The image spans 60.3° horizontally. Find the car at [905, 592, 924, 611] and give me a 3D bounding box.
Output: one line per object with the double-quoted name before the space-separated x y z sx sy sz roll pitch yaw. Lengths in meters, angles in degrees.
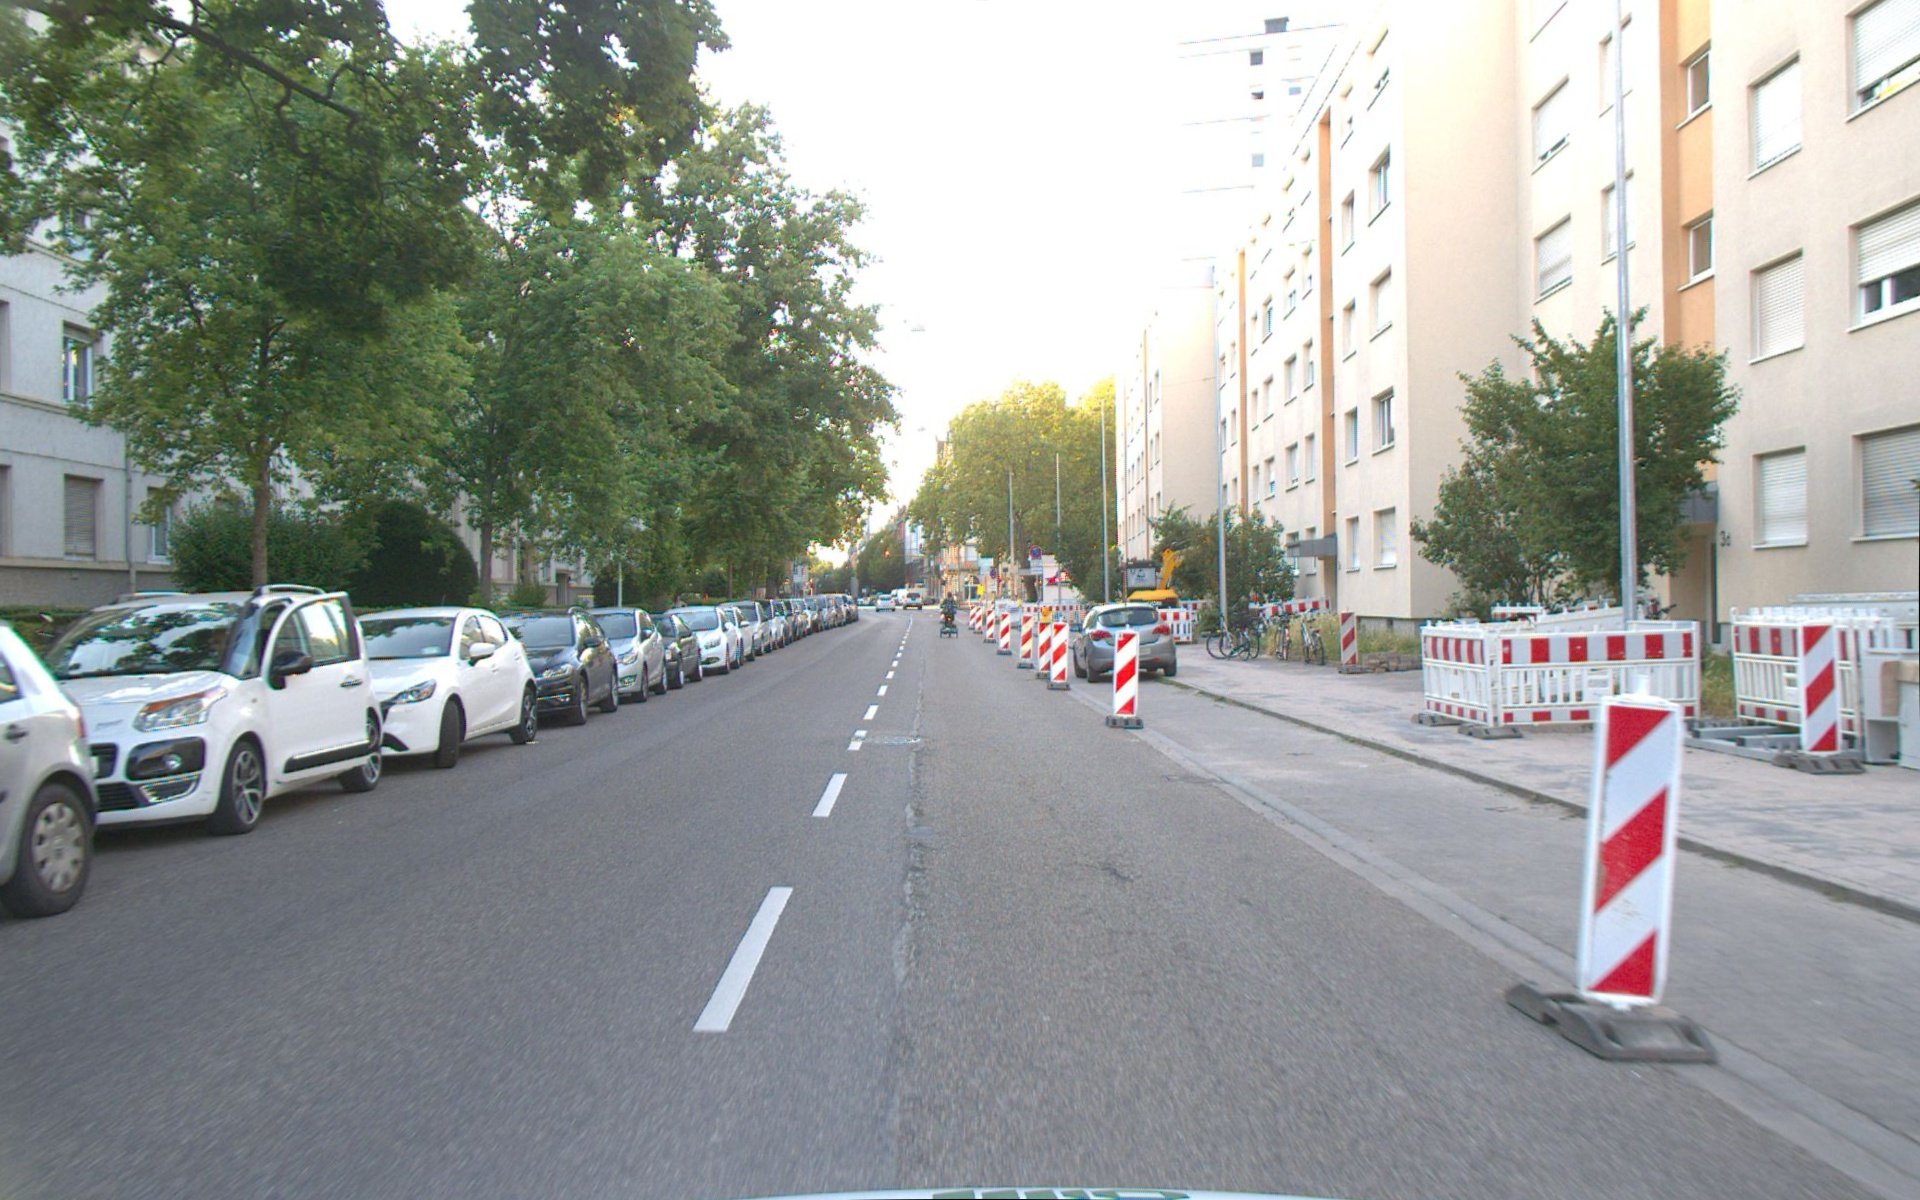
"car" -4.670 0.133 168.844 1.829 1.846 3.998 -1 0 -3

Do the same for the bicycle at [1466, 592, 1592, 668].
"bicycle" 8.934 0.466 26.010 1.716 1.004 0.558 -6 -1 8

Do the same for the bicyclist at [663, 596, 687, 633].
"bicyclist" -11.169 0.550 64.800 0.792 1.428 0.973 0 0 -2

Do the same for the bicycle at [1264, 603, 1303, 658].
"bicycle" 7.293 0.671 37.322 0.544 1.192 1.817 0 0 1

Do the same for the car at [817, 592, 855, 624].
"car" -7.242 0.443 96.904 1.914 1.749 4.769 -3 0 -2

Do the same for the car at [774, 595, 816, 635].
"car" -7.012 0.625 70.574 1.559 1.565 4.203 -4 0 -4

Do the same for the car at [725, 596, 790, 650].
"car" -6.352 0.715 52.176 1.557 1.555 2.921 -4 0 1

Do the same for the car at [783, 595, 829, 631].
"car" -6.962 0.584 74.971 1.673 1.477 3.842 -4 0 -1

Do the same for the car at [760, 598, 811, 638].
"car" -6.834 0.693 65.169 1.558 1.428 4.180 -4 0 -1

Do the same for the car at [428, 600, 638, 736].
"car" -5.539 0.814 22.029 1.718 1.505 4.676 -4 0 -3

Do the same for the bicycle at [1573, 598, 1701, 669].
"bicycle" 9.394 0.480 23.001 0.550 0.880 1.599 -5 -1 -29

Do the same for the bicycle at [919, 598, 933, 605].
"bicycle" -4.622 0.205 224.890 1.877 0.985 0.545 -1 0 -3

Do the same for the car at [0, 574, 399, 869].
"car" -5.513 0.732 11.767 1.718 1.660 4.105 -4 0 -3

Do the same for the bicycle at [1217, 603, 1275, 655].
"bicycle" 6.786 0.671 39.336 0.616 1.192 1.808 0 0 -17

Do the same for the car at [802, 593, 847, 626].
"car" -6.883 0.471 84.197 1.696 1.523 4.272 -3 0 3

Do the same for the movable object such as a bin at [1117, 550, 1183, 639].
"movable object such as a bin" 6.051 -0.177 52.995 1.893 2.740 2.892 -1 0 3

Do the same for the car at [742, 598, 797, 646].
"car" -6.504 0.727 56.757 1.559 1.492 4.099 -4 0 -3

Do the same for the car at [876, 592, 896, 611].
"car" -6.831 0.138 152.647 1.828 1.613 3.998 -2 0 -2

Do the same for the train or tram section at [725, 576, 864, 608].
"train or tram section" -20.725 -0.973 207.205 16.647 3.688 5.048 -1 0 16

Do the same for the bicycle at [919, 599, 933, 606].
"bicycle" -4.589 0.324 224.897 1.877 0.985 0.545 -1 0 -3

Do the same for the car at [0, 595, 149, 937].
"car" -5.098 0.786 6.454 1.717 1.497 4.223 -4 0 0

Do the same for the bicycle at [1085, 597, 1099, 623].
"bicycle" 6.361 0.496 79.846 0.390 1.243 1.910 0 0 -3

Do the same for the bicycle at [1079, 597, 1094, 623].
"bicycle" 6.094 0.492 79.748 0.442 1.243 1.910 0 0 -3

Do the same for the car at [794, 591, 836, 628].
"car" -6.928 0.460 79.390 1.673 1.628 4.115 -4 0 -1

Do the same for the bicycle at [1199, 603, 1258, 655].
"bicycle" 6.290 0.663 38.819 0.548 1.192 1.805 0 0 -21

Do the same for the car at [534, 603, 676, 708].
"car" -5.710 0.841 26.982 1.641 1.485 3.702 -4 0 -4

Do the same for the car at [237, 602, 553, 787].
"car" -5.462 0.834 16.553 1.717 1.505 3.944 -4 0 0

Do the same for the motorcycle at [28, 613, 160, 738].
"motorcycle" -9.907 0.835 18.994 0.574 1.348 1.828 -1 0 -1

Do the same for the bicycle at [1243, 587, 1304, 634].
"bicycle" 8.433 0.286 44.494 1.562 1.243 0.484 0 0 -8

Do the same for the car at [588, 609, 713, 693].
"car" -5.867 0.919 31.818 1.641 1.355 4.578 -4 0 -2

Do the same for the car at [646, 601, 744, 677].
"car" -5.846 0.825 36.860 1.659 1.485 4.142 -4 0 -3

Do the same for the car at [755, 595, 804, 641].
"car" -6.639 0.648 61.027 1.493 1.555 3.162 -4 0 -3

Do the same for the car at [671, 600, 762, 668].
"car" -6.037 0.807 41.426 1.658 1.485 4.482 -4 0 -2

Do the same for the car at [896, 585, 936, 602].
"car" -6.173 -0.867 231.091 5.780 2.328 2.038 -1 0 -45

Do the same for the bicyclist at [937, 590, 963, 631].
"bicyclist" -0.430 0.444 68.221 0.921 1.609 1.145 -3 0 -5

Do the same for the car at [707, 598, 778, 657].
"car" -6.249 0.751 47.750 1.558 1.531 3.798 -4 0 -2

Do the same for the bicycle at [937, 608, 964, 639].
"bicycle" -0.402 0.947 68.203 0.921 1.192 2.356 -3 0 -5

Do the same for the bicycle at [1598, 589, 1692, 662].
"bicycle" 10.413 0.381 25.104 1.802 0.937 0.549 -5 -1 -43

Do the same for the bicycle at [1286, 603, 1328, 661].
"bicycle" 7.390 0.663 35.276 0.544 1.192 1.817 0 0 1

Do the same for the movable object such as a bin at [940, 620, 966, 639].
"movable object such as a bin" -0.279 1.168 66.522 0.921 0.701 0.992 -3 0 -5

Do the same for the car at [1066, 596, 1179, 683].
"car" 3.258 0.747 33.867 1.740 1.516 4.573 -4 0 0
